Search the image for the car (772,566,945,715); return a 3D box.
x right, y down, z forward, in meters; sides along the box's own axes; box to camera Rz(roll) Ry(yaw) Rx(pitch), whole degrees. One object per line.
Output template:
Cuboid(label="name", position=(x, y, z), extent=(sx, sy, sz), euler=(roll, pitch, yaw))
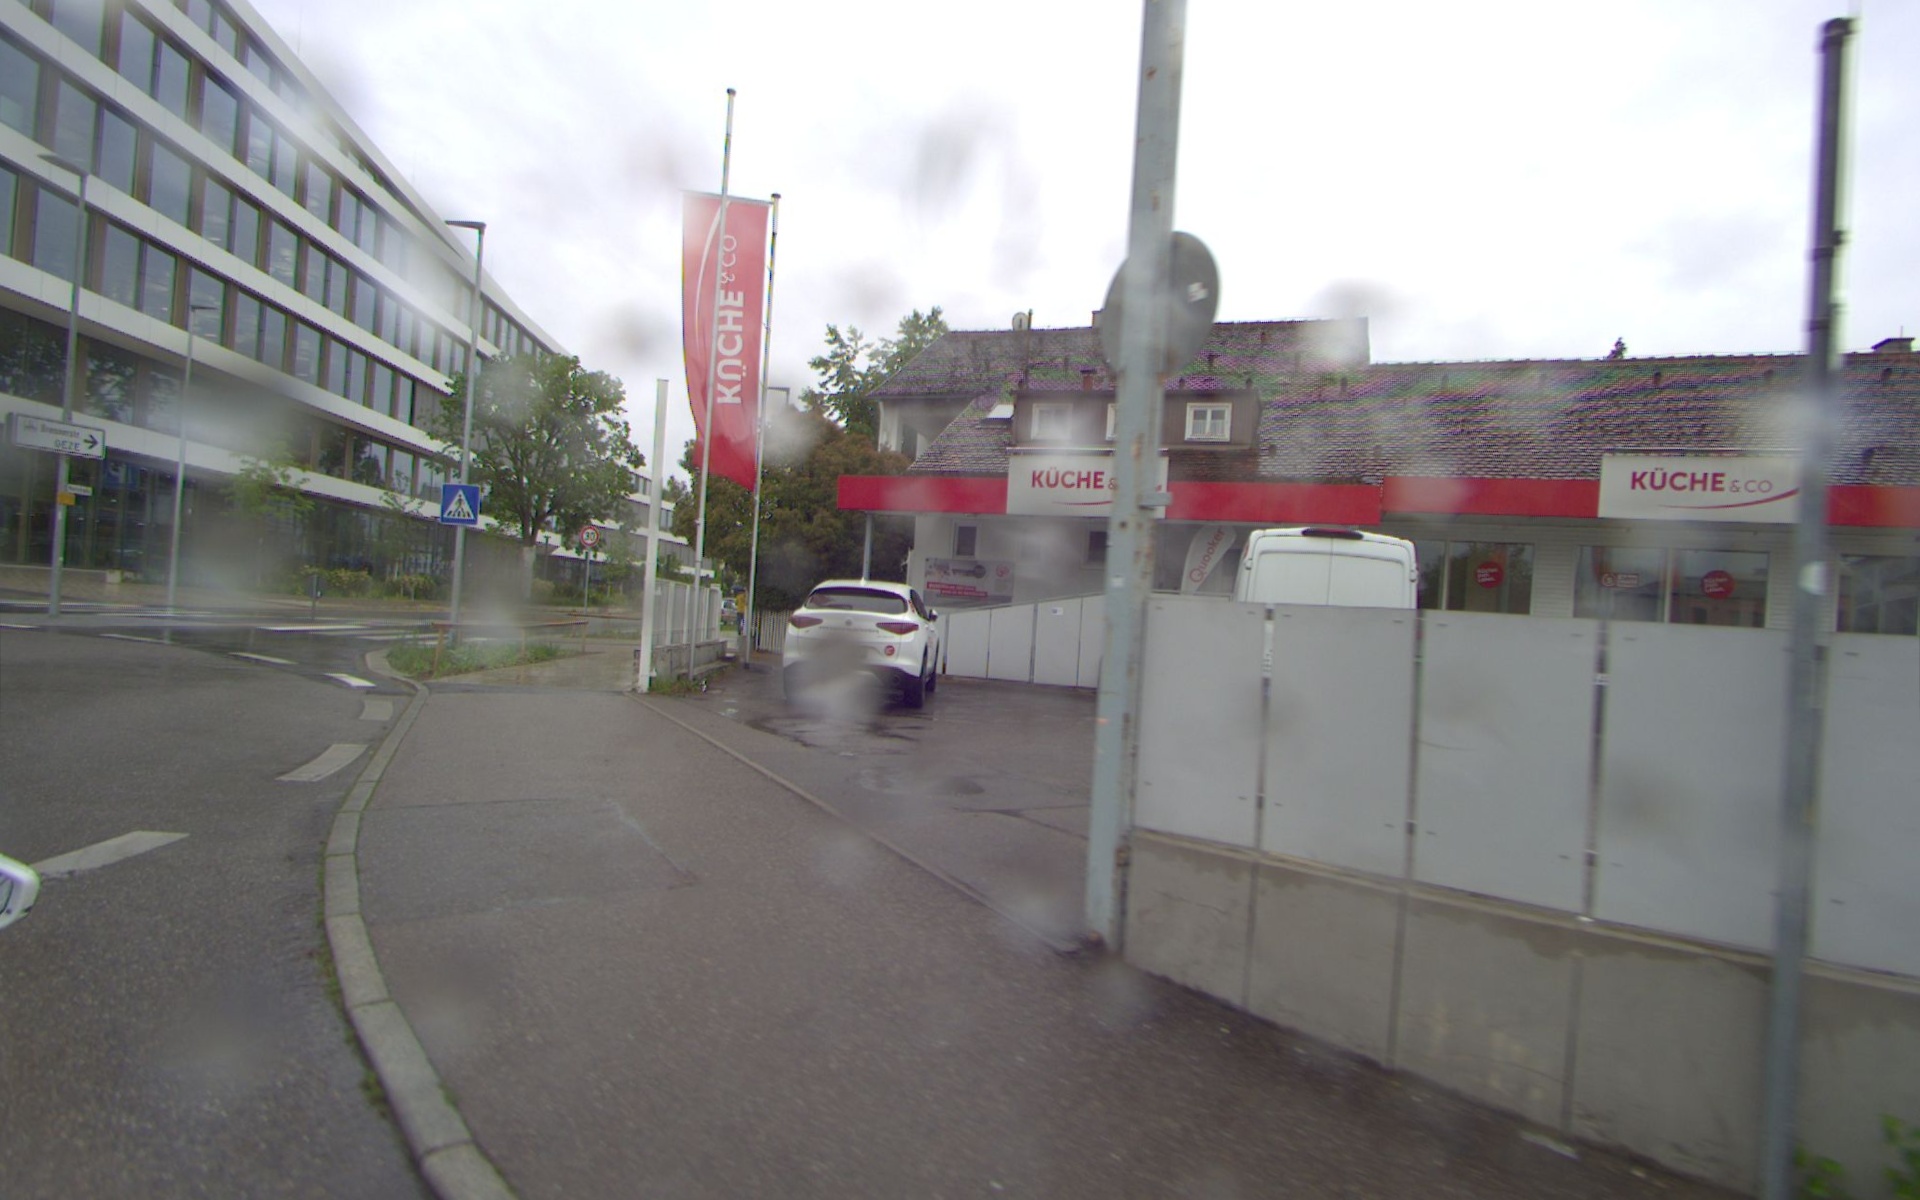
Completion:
Cuboid(label="car", position=(-1.291, 0.525, 14.534), extent=(1.812, 1.712, 4.171), euler=(4, 0, 2))

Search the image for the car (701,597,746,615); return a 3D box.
Cuboid(label="car", position=(-23.420, 0.602, 99.724), extent=(3.868, 1.440, 1.898), euler=(5, -1, -3))

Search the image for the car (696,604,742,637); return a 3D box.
Cuboid(label="car", position=(-14.081, 1.224, 58.918), extent=(1.921, 1.572, 4.000), euler=(8, -3, -6))

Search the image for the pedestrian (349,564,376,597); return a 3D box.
Cuboid(label="pedestrian", position=(-33.532, -1.088, 56.496), extent=(0.713, 1.723, 0.957), euler=(8, -2, 0))

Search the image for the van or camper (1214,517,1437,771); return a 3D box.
Cuboid(label="van or camper", position=(4.601, 0.525, 13.375), extent=(2.089, 2.572, 5.264), euler=(4, 0, 15))

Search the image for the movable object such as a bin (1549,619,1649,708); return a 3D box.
Cuboid(label="movable object such as a bin", position=(11.223, 1.084, 17.741), extent=(1.146, 1.363, 1.164), euler=(5, 4, 21))

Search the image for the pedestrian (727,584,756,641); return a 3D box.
Cuboid(label="pedestrian", position=(-8.133, 0.475, 37.564), extent=(0.846, 2.039, 1.194), euler=(2, 0, -5))
